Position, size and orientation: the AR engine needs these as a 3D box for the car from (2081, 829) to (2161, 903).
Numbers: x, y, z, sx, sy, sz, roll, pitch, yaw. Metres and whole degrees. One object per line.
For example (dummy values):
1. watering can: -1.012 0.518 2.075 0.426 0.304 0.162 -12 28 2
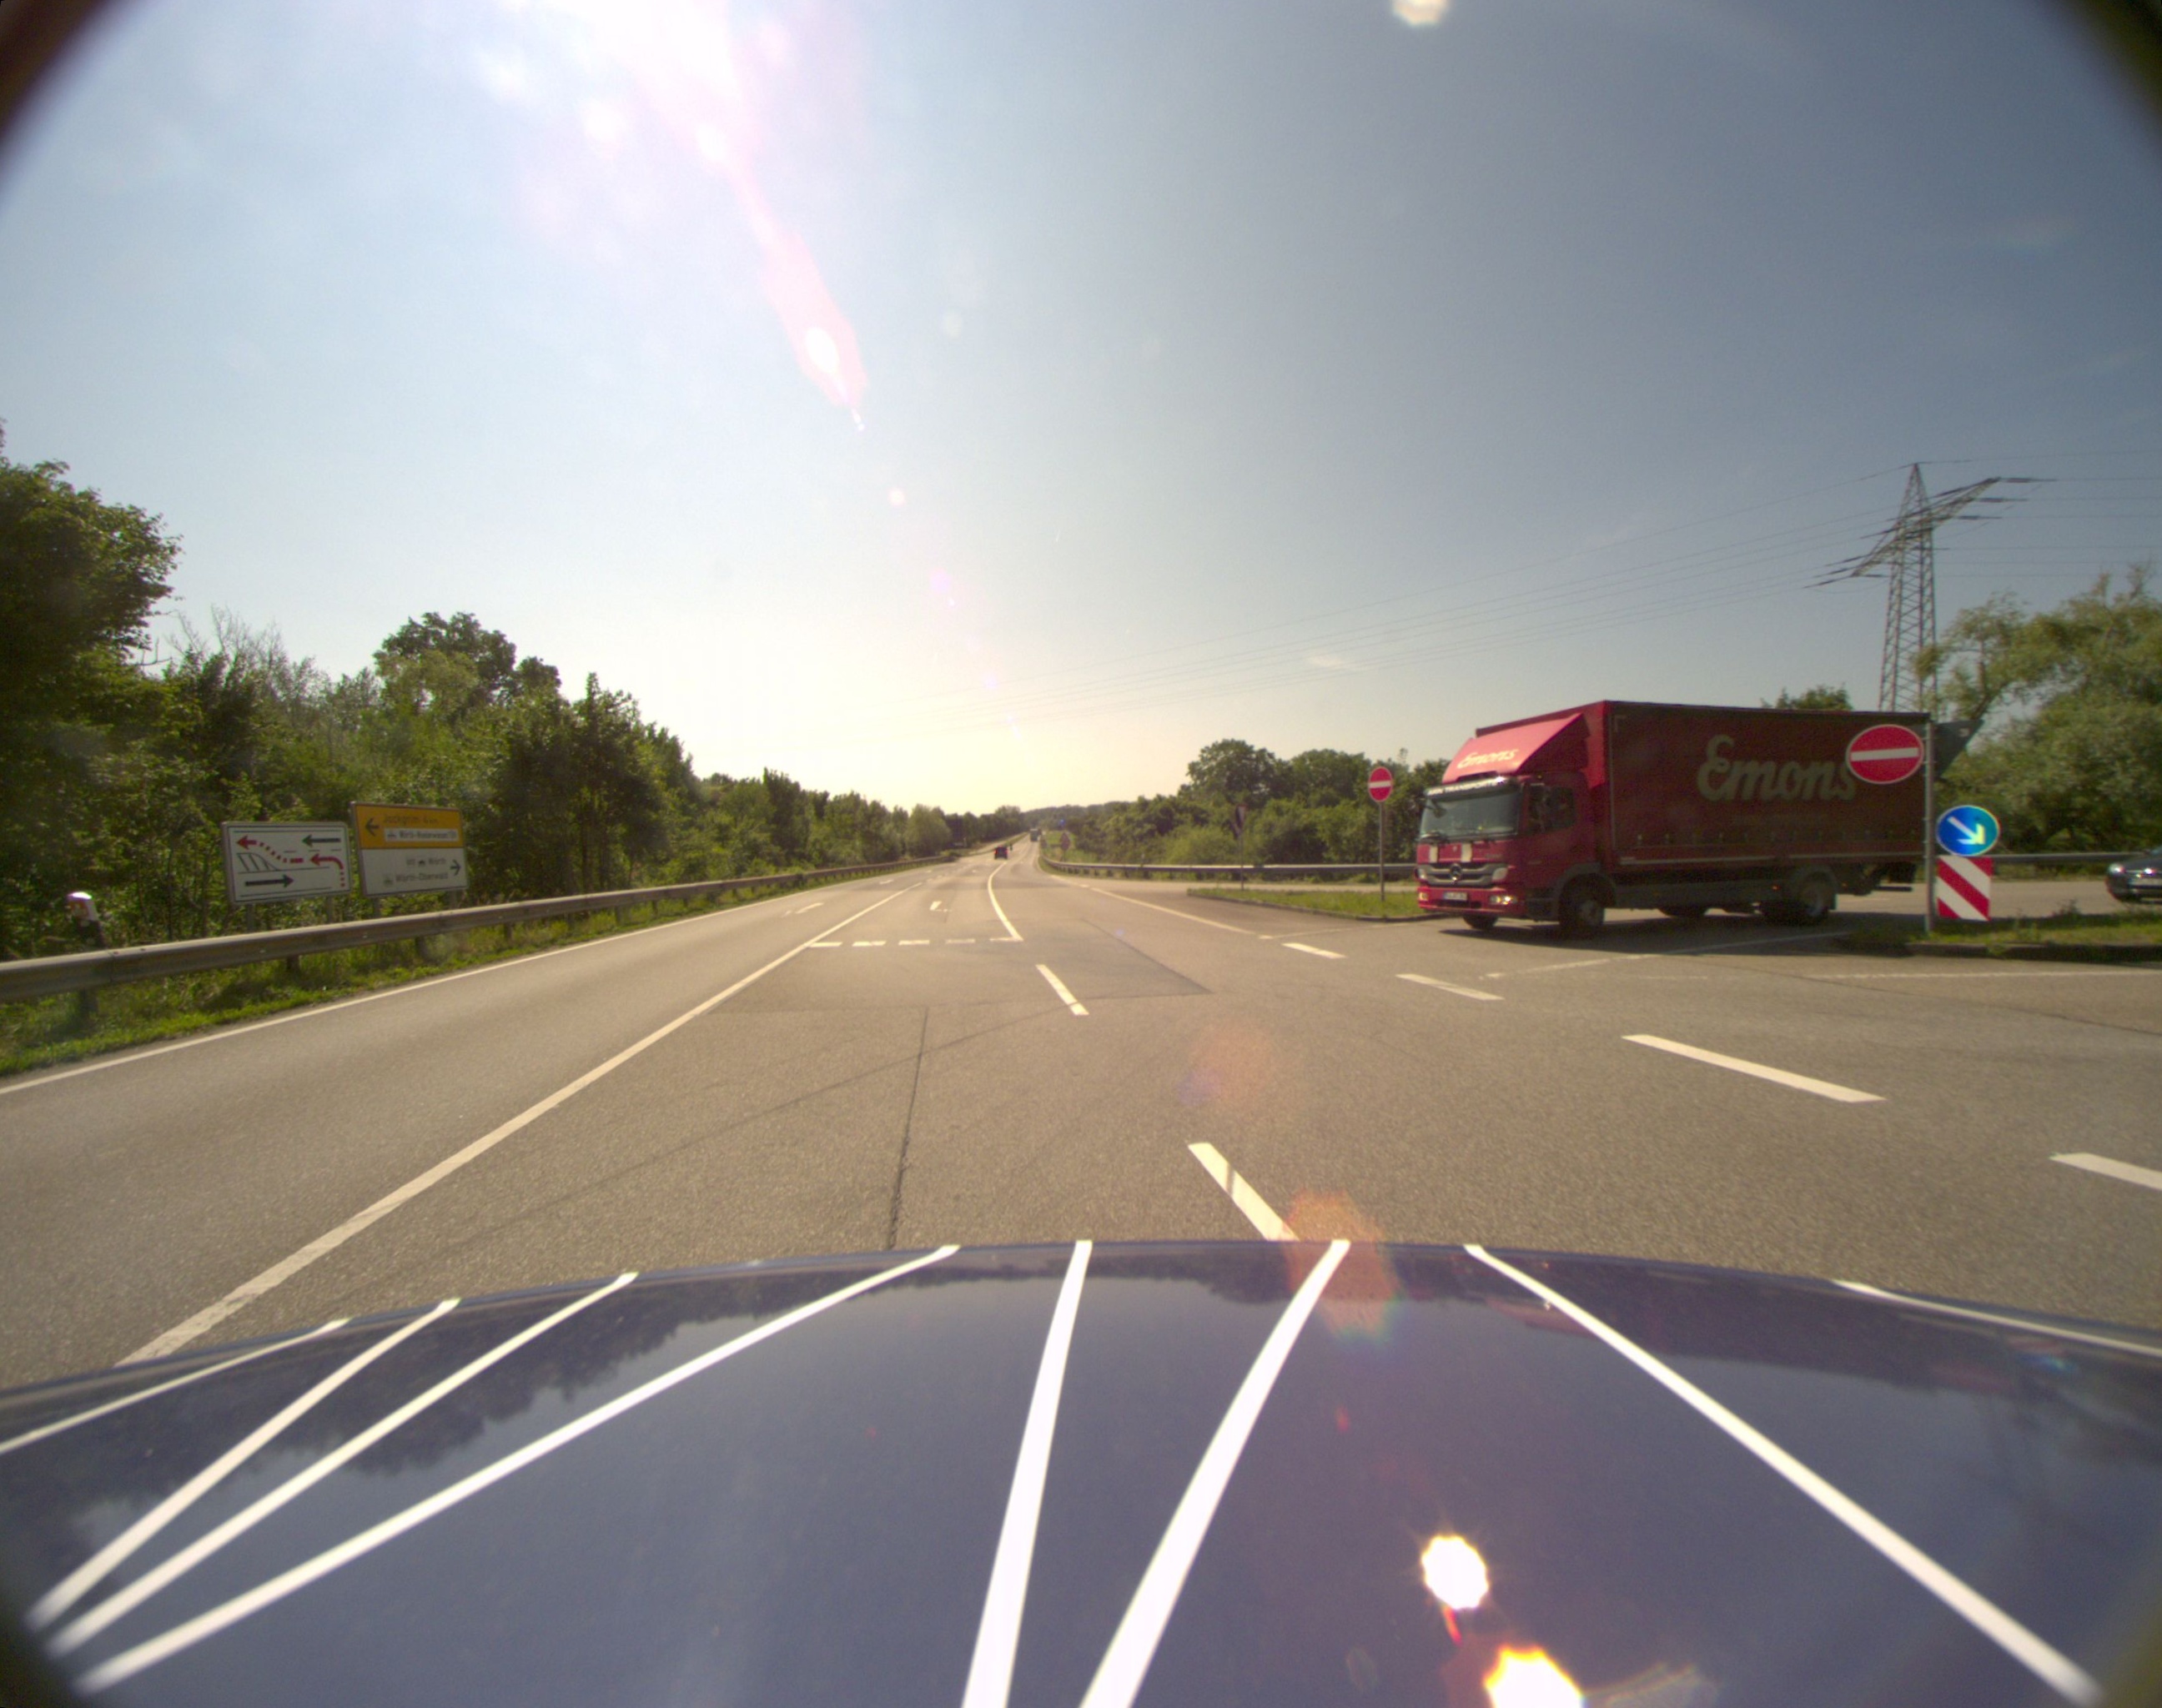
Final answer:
1. car: 22.579 0.186 14.920 3.999 1.406 1.787 -1 1 -7

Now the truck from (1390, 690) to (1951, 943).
1. truck: 10.337 -0.655 13.383 9.266 3.641 2.687 -1 1 -15

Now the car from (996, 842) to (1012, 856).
1. car: -11.162 -0.725 110.564 1.999 1.868 4.992 -1 0 -3
